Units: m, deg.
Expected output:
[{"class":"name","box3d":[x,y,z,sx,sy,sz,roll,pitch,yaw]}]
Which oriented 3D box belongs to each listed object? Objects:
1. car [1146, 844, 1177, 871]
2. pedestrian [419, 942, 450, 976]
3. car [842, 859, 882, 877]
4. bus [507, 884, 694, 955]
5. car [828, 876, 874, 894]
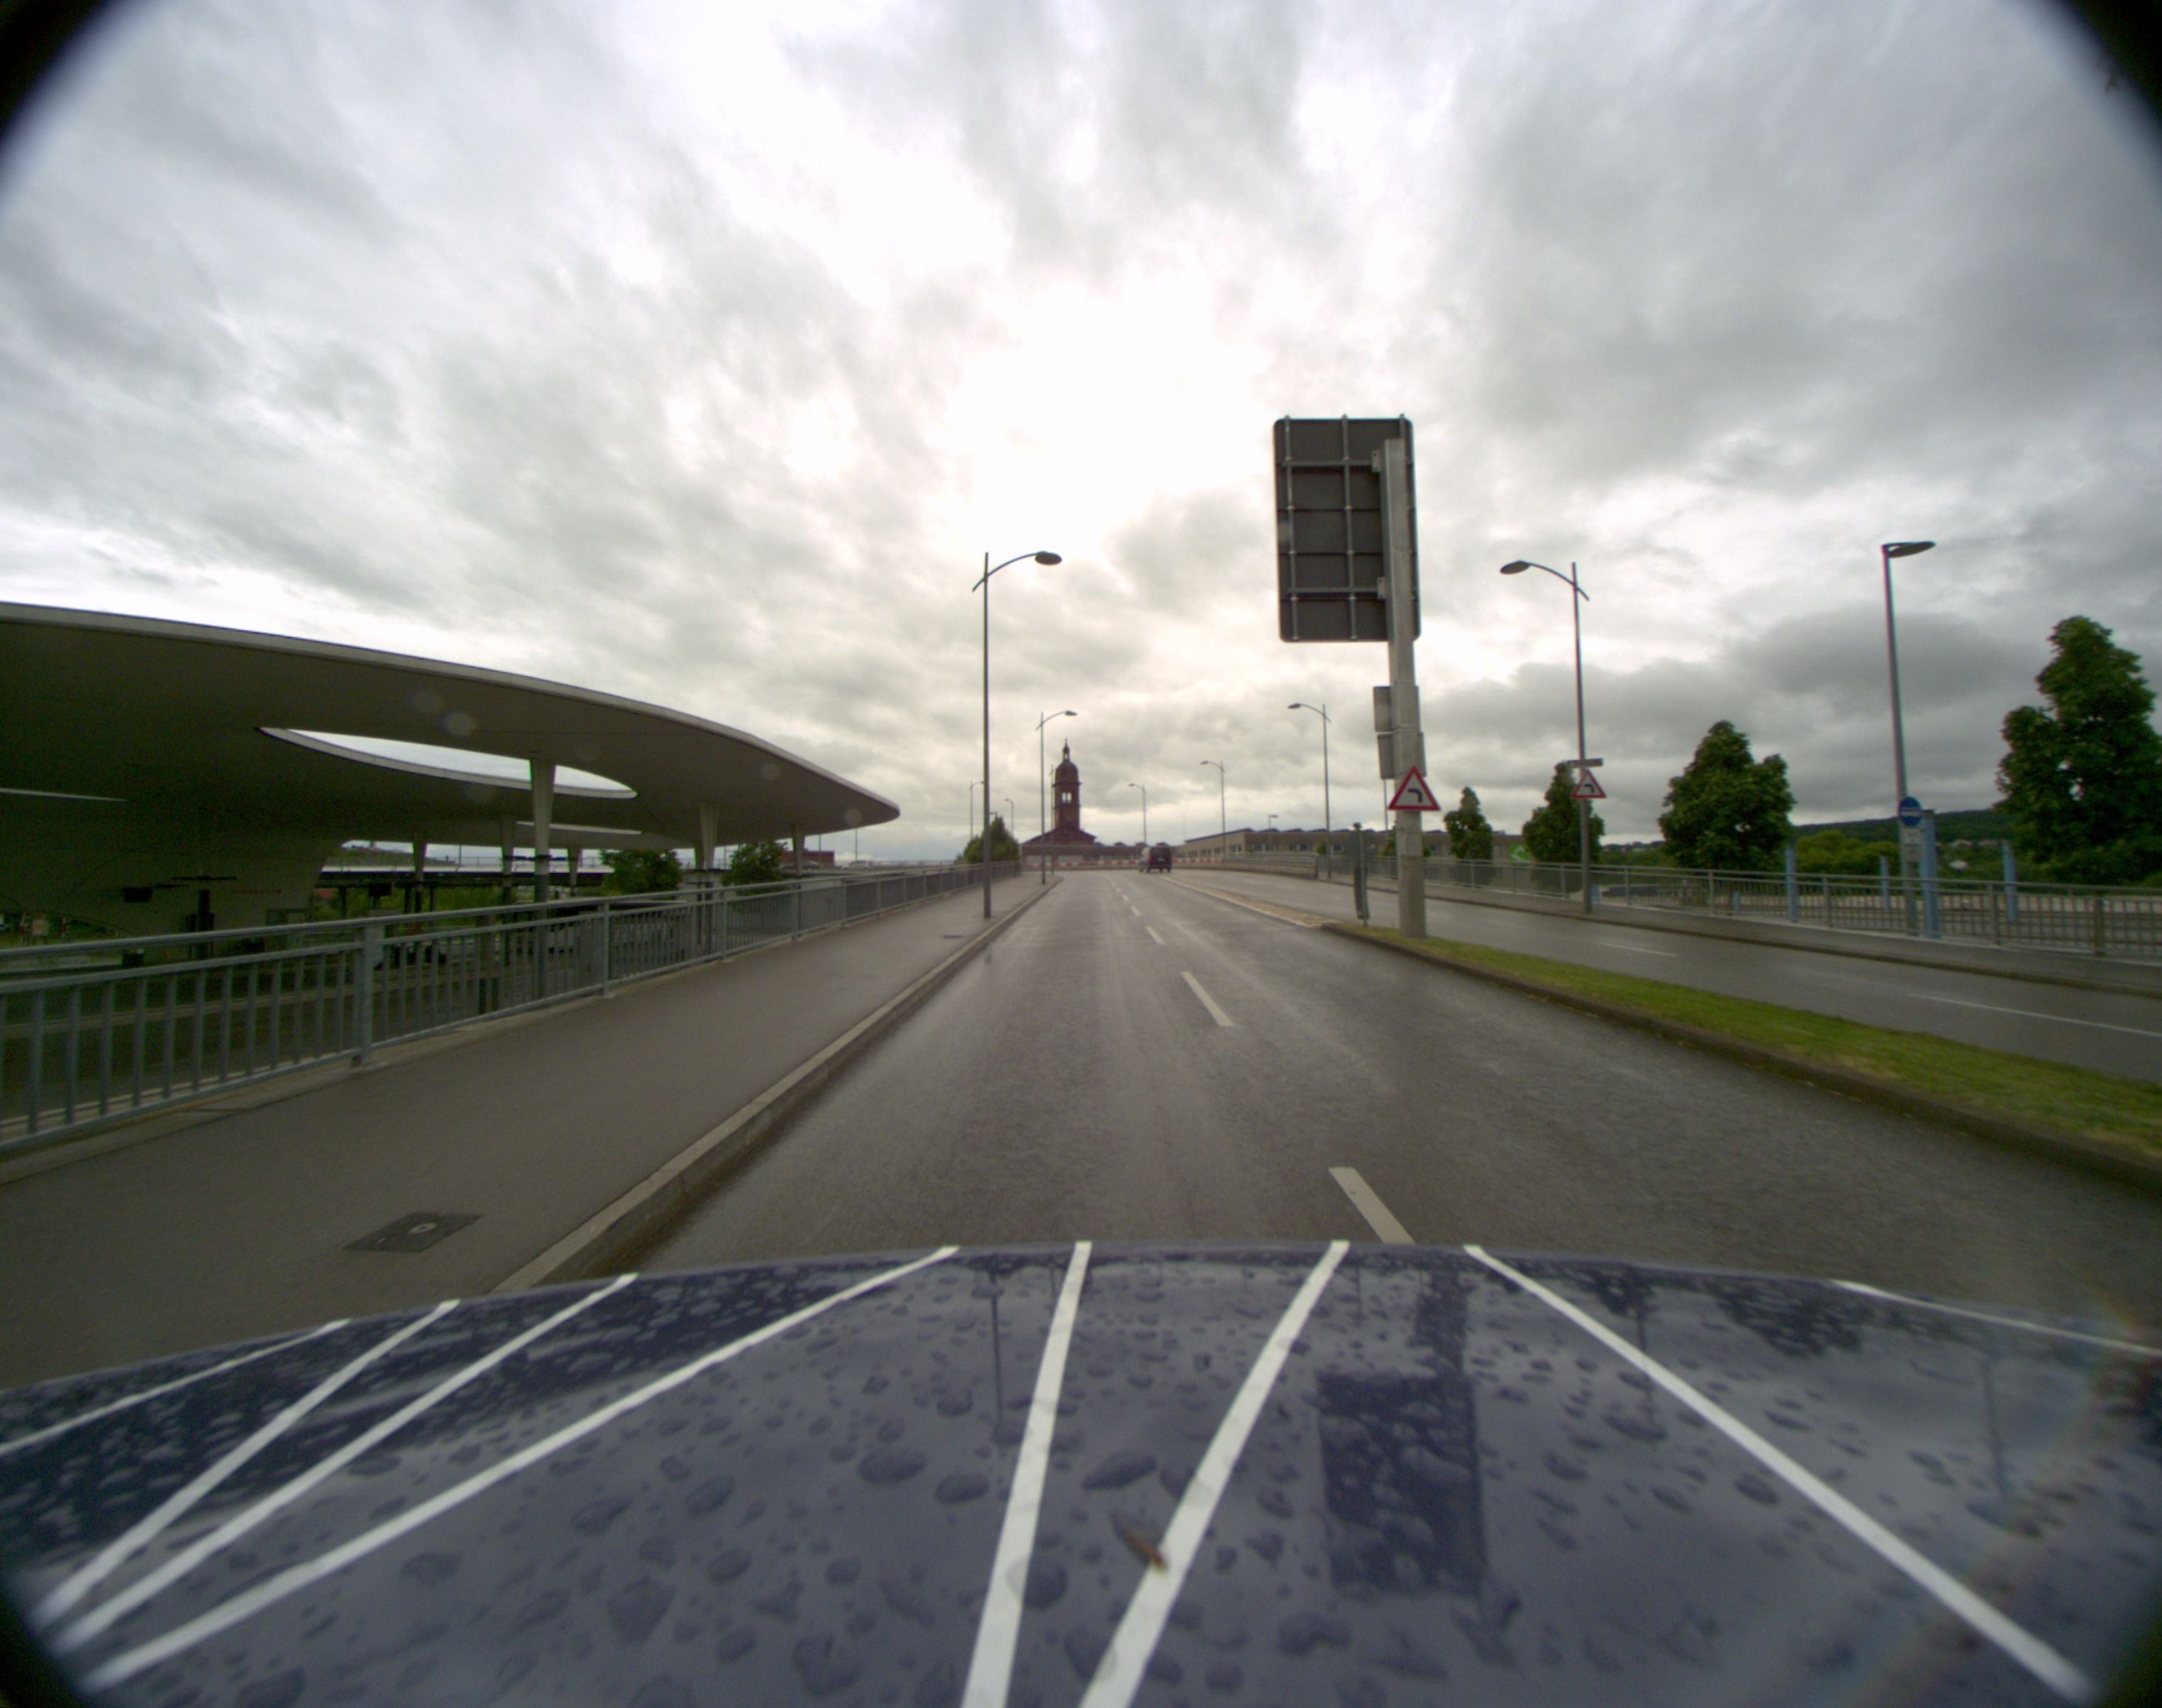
[{"class":"car","box3d":[6.251,0.231,59.412,1.850,1.956,4.684,0,1,-1]},{"class":"pedestrian","box3d":[-24.438,3.973,28.723,0.536,1.157,0.669,-3,1,-2]},{"class":"car","box3d":[-26.695,1.697,92.633,4.206,1.955,1.852,-2,-1,3]},{"class":"bus","box3d":[-30.266,3.944,48.978,2.794,3.238,12.146,-3,1,8]},{"class":"car","box3d":[-26.597,3.602,88.065,4.682,1.955,2.115,-2,-1,-2]}]
